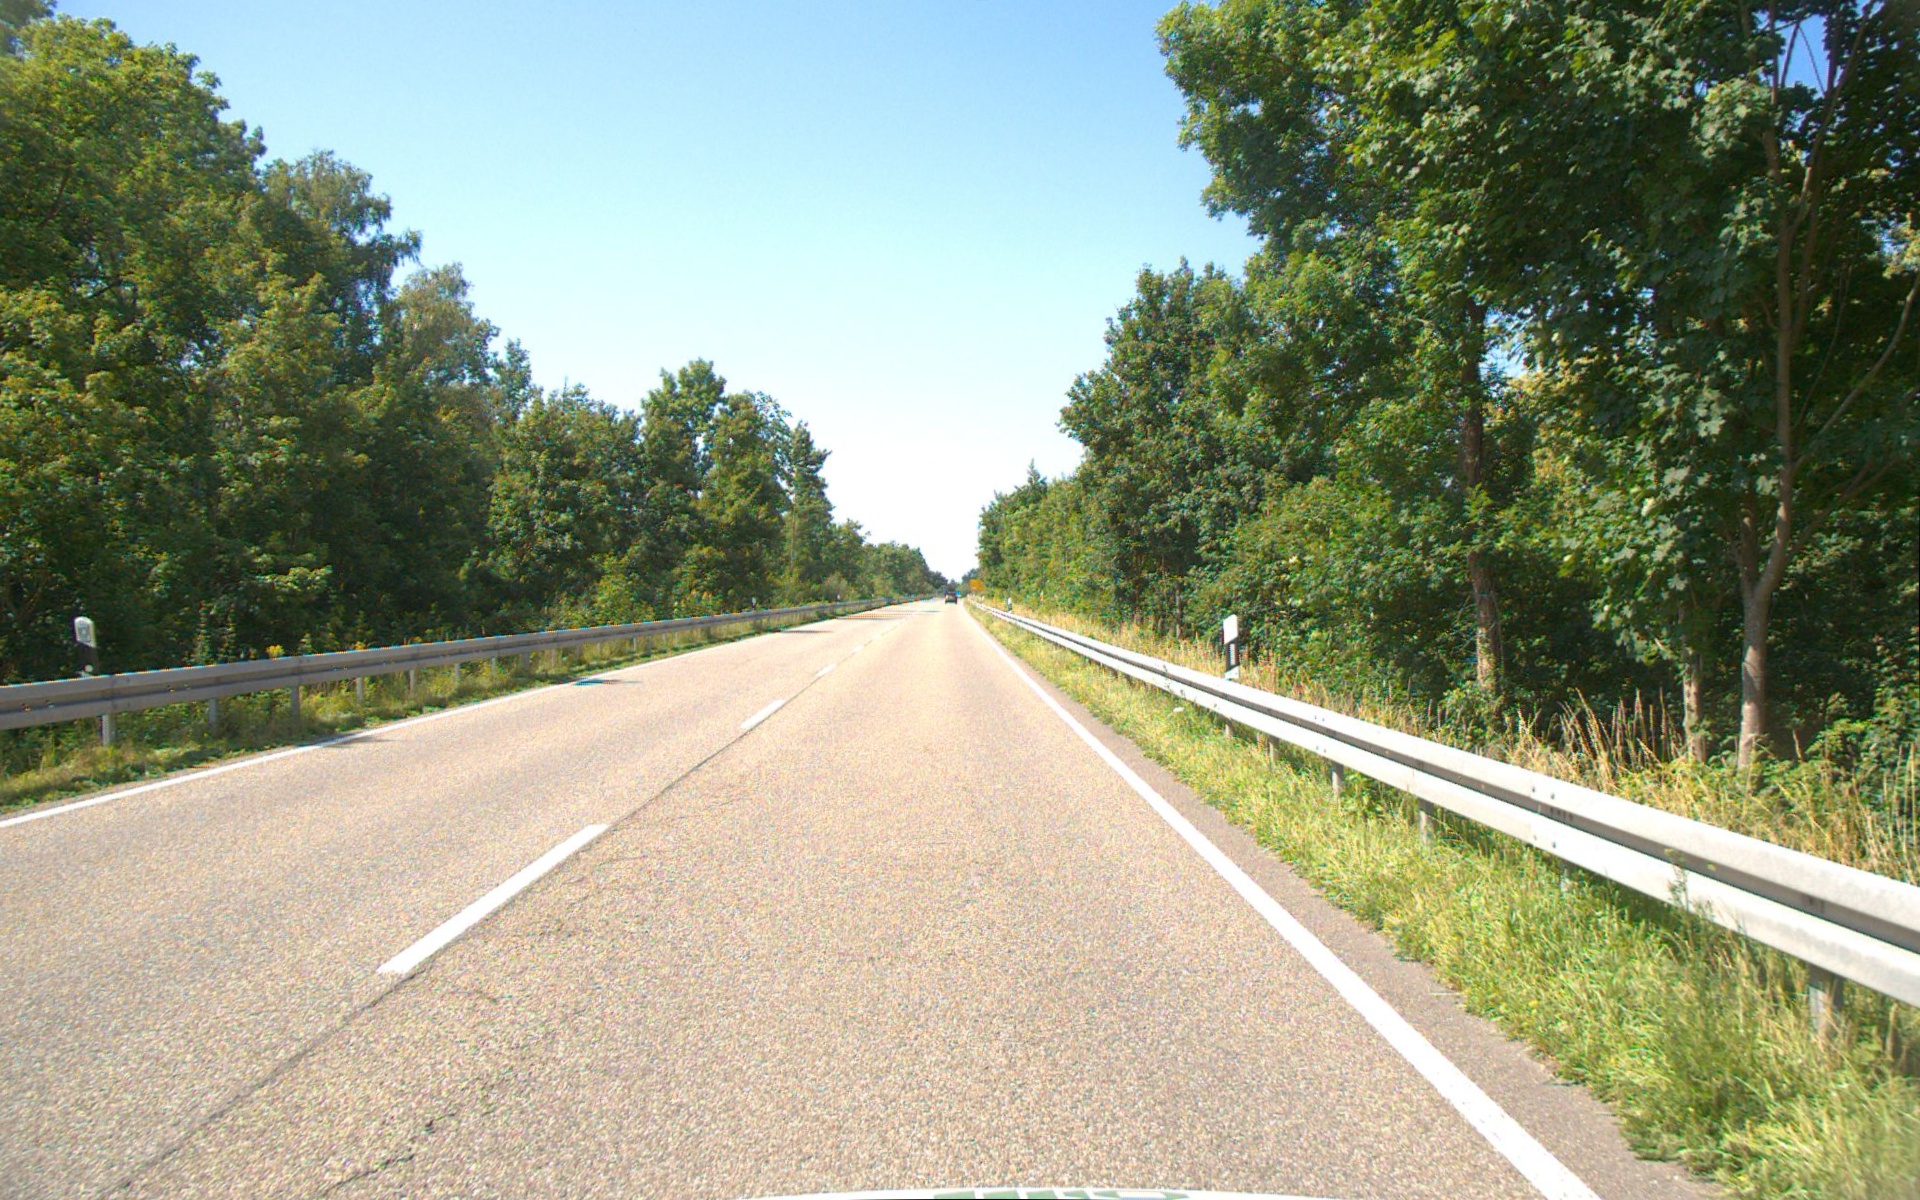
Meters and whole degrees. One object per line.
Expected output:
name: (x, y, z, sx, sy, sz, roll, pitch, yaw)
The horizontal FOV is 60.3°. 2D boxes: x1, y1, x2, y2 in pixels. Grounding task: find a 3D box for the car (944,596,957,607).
car: (-1.375, 0.240, 233.595, 1.705, 1.496, 3.693, 0, 0, 1)
